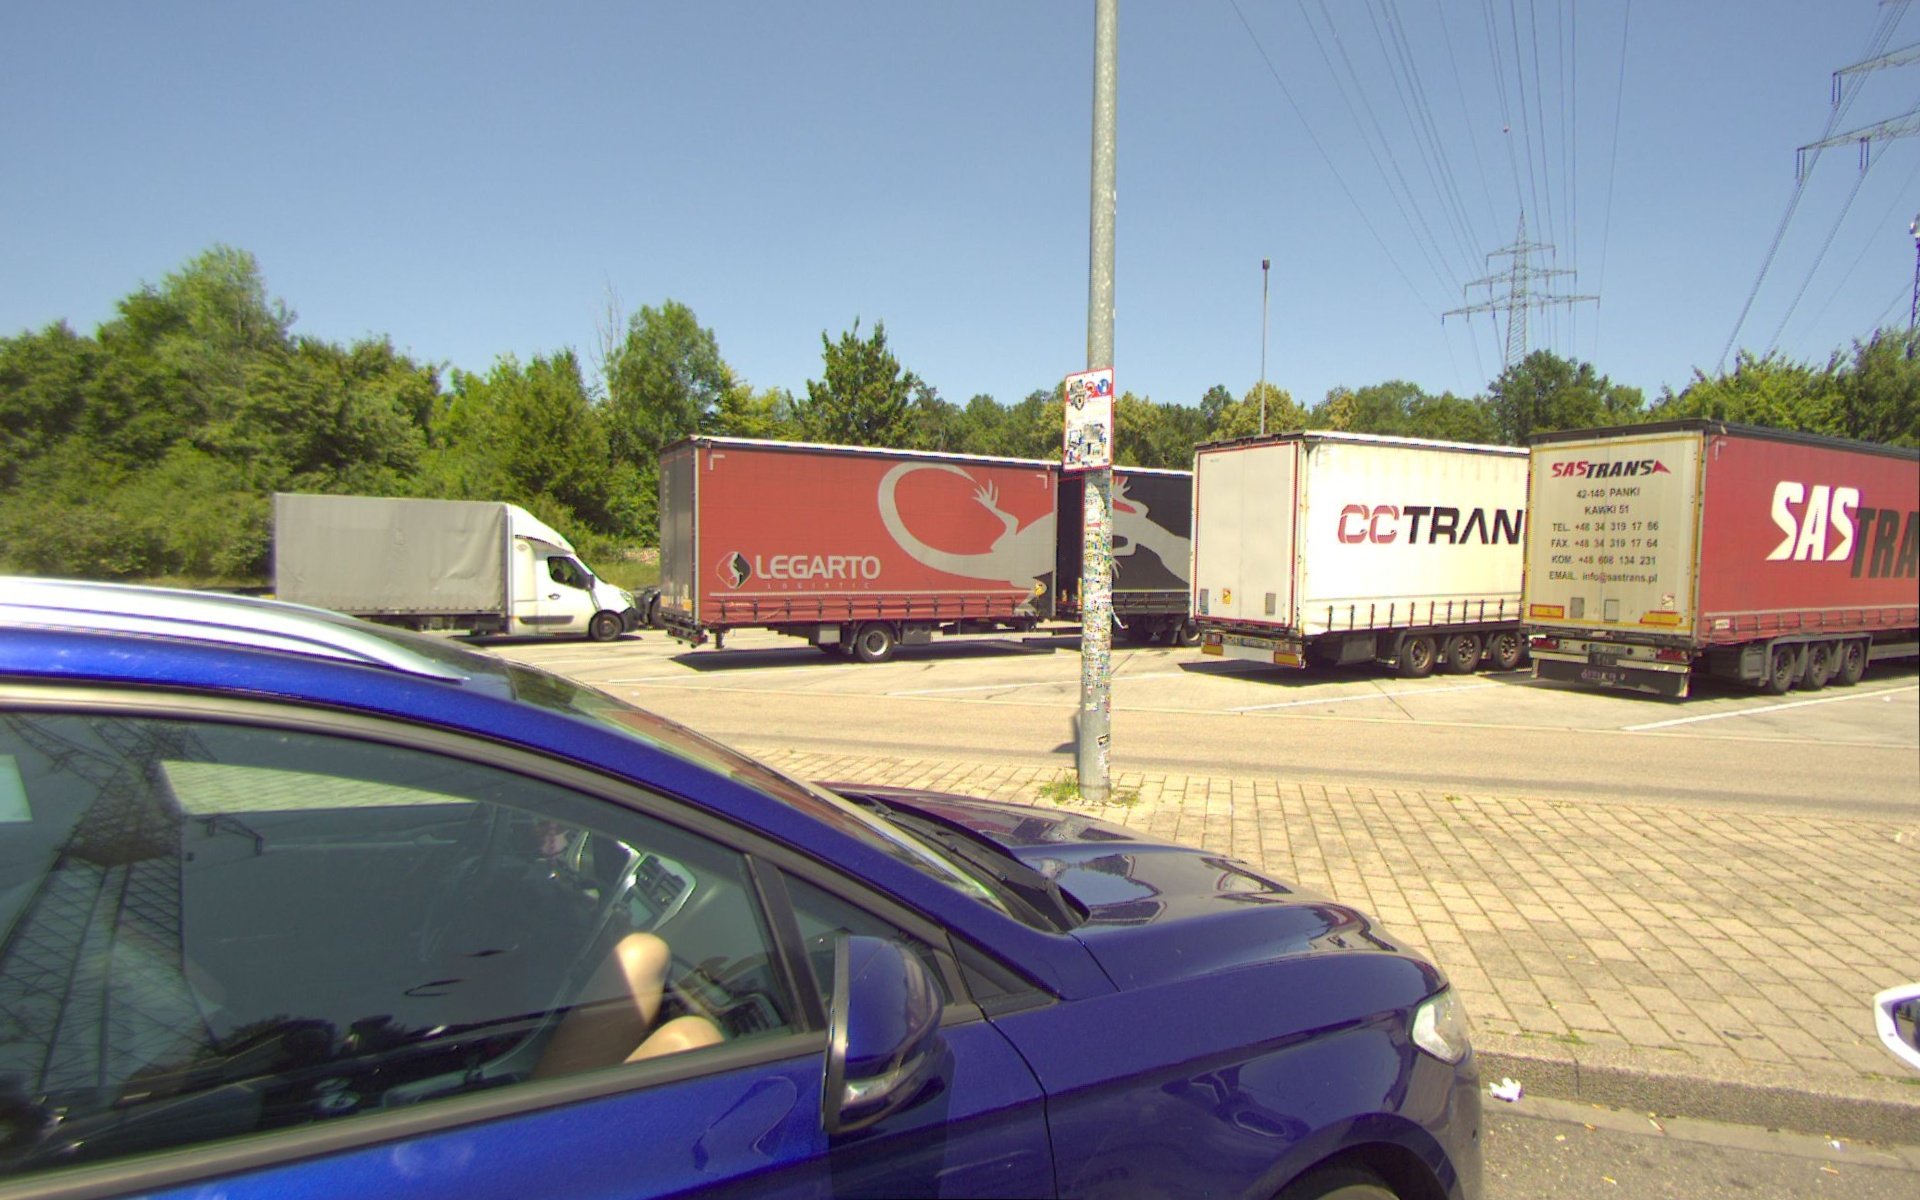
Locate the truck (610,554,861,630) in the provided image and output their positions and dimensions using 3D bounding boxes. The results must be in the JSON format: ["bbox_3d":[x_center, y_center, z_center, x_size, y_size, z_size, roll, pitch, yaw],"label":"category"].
[{"bbox_3d":[-6.496,-0.200,29.524,6.961,2.040,1.984,0,0,-30],"label":"truck"}]

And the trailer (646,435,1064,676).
[{"bbox_3d":[-1.943,-0.854,20.263,7.996,4.101,2.696,-1,3,-30],"label":"trailer"}]

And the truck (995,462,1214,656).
[{"bbox_3d":[3.340,-0.932,23.355,4.273,4.072,2.689,-1,3,-30],"label":"truck"}]

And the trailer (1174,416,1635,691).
[{"bbox_3d":[8.850,-0.843,19.321,10.048,4.268,2.714,-1,3,-30],"label":"trailer"}]

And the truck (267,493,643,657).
[{"bbox_3d":[-11.218,-0.601,22.901,7.254,3.254,2.515,-1,3,-30],"label":"truck"}]

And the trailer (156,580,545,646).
[{"bbox_3d":[-14.846,0.228,25.187,7.996,1.394,2.211,-1,3,-30],"label":"trailer"}]

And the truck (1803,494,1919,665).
[{"bbox_3d":[21.711,-0.457,22.298,5.418,3.475,2.838,-1,3,-30],"label":"truck"}]

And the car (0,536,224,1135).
[{"bbox_3d":[-4.574,0.583,2.253,4.592,1.554,1.726,0,1,-33],"label":"car"}]

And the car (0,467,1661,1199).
[{"bbox_3d":[-1.001,0.656,1.467,4.592,1.502,1.727,0,0,-33],"label":"car"}]

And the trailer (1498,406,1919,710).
[{"bbox_3d":[15.388,-0.724,18.554,13.559,4.189,2.892,-1,3,-30],"label":"trailer"}]
